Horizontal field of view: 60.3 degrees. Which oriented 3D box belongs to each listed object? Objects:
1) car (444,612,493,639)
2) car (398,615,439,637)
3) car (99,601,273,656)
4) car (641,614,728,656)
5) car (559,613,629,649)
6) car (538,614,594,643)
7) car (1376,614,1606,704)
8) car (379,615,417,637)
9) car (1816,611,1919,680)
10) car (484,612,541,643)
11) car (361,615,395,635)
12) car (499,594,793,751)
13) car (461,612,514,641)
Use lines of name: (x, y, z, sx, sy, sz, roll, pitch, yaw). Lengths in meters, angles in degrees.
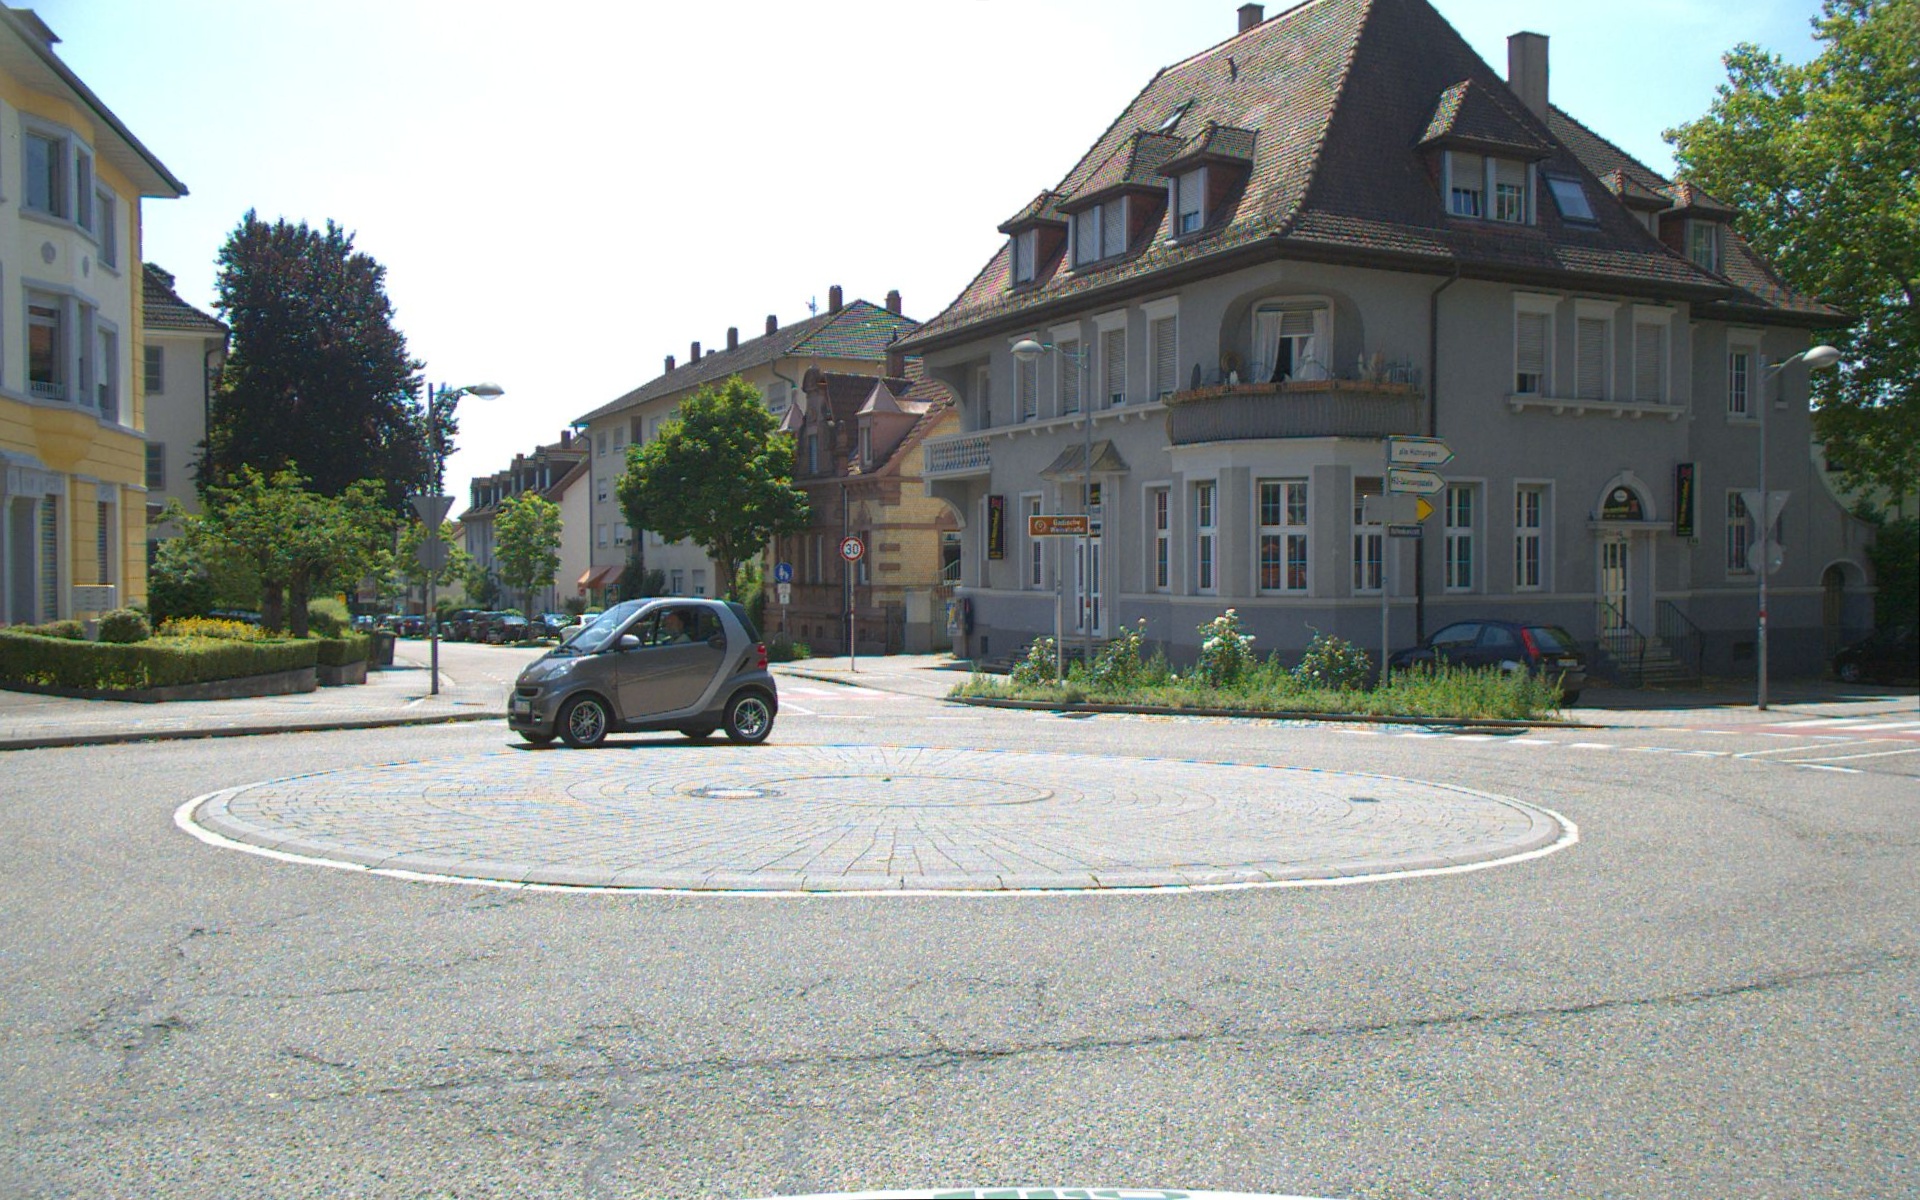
car: (-28.801, 1.475, 96.843, 1.971, 1.535, 4.378, 1, -1, -28)
car: (-37.706, 1.804, 115.166, 1.971, 1.535, 4.378, 1, -1, -28)
car: (-22.604, 0.815, 48.336, 4.367, 1.535, 1.976, 0, -1, -35)
car: (-10.462, 1.293, 62.640, 1.971, 1.535, 4.378, 1, -1, -28)
car: (-16.304, 1.356, 73.587, 1.971, 1.535, 4.378, 1, -1, -28)
car: (-21.888, 1.550, 91.749, 1.971, 1.535, 4.378, 1, -1, -28)
car: (9.413, 1.005, 29.576, 1.702, 1.486, 3.751, 1, -1, -32)
car: (-40.964, 1.891, 120.501, 1.971, 1.535, 4.378, 1, -1, -28)
car: (22.179, 1.052, 38.803, 1.702, 1.574, 3.355, 1, 0, -32)
car: (-23.503, 1.428, 86.691, 1.971, 1.535, 4.378, 1, -1, -28)
car: (-45.791, 1.976, 130.038, 1.970, 1.514, 3.964, 2, -1, -27)
car: (-3.375, 0.738, 17.808, 2.752, 1.557, 1.553, 1, -1, -32)
car: (-26.342, 1.454, 92.180, 1.971, 1.535, 4.378, 1, -1, -28)
